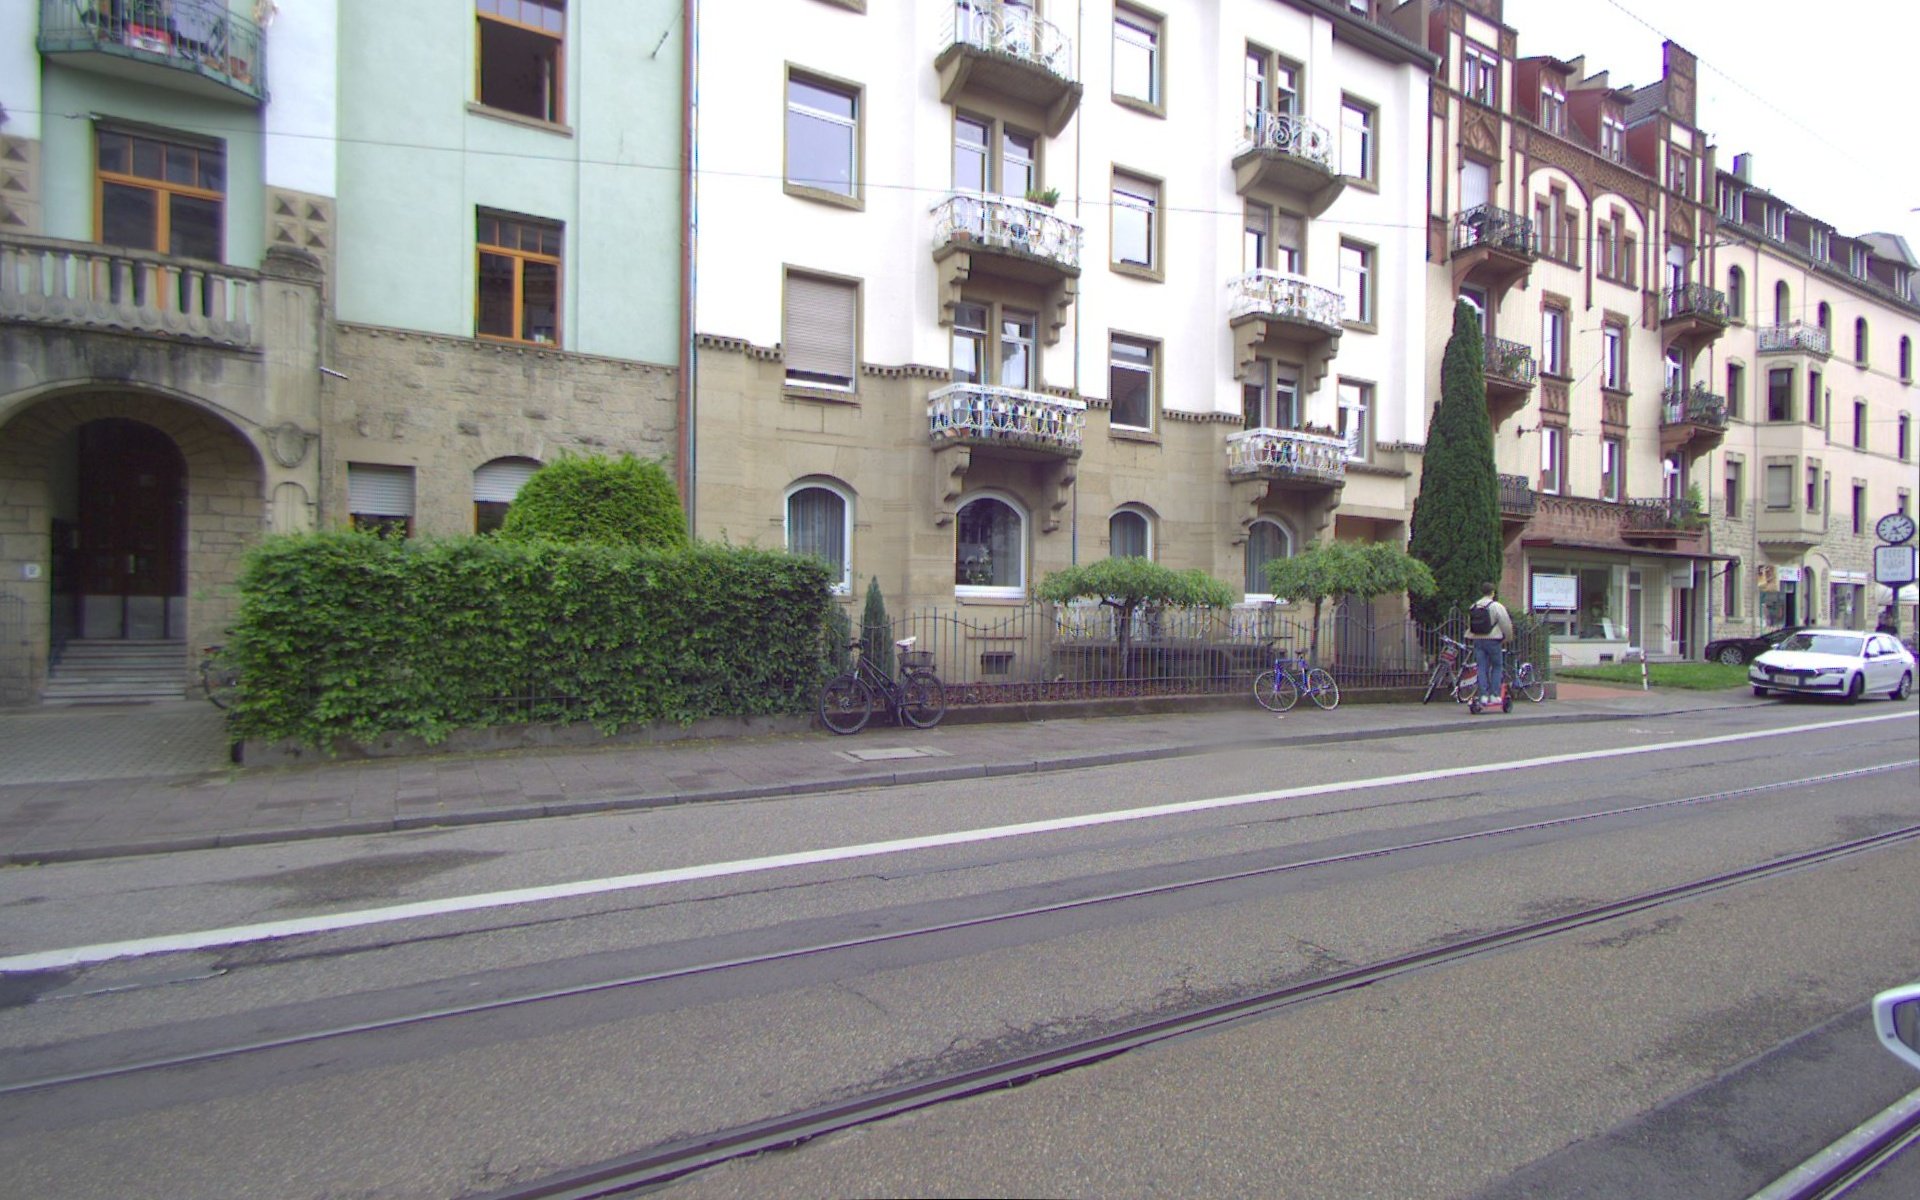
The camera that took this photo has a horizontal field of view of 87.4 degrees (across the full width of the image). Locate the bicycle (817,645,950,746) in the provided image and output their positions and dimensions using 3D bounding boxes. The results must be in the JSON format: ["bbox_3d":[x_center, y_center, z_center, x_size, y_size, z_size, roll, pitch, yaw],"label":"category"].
[{"bbox_3d":[-0.865,1.080,11.618,1.529,1.098,0.358,1,-1,-31],"label":"bicycle"}]

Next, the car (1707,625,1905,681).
[{"bbox_3d":[26.499,1.603,31.623,1.861,1.389,4.397,1,2,-34],"label":"car"}]

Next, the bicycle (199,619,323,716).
[{"bbox_3d":[-8.304,0.781,11.955,1.195,1.098,0.297,1,2,-37],"label":"bicycle"}]

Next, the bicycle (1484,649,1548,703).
[{"bbox_3d":[10.237,1.386,18.491,1.498,0.950,0.330,1,-1,-31],"label":"bicycle"}]

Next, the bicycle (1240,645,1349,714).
[{"bbox_3d":[5.119,1.203,15.362,1.640,0.938,0.358,0,-19,-28],"label":"bicycle"}]

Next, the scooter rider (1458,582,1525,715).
[{"bbox_3d":[8.381,0.749,15.853,0.749,2.040,0.639,1,-1,-30],"label":"scooter rider"}]

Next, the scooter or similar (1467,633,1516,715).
[{"bbox_3d":[8.390,1.155,15.847,0.942,1.250,0.230,1,-1,-31],"label":"scooter or similar"}]

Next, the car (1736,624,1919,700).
[{"bbox_3d":[19.014,1.301,21.962,4.557,1.504,1.738,1,-1,-31],"label":"car"}]

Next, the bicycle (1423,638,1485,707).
[{"bbox_3d":[8.456,1.216,17.167,1.613,1.116,0.381,1,-1,-42],"label":"bicycle"}]

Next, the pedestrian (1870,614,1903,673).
[{"bbox_3d":[29.860,1.403,32.364,0.875,1.868,0.662,1,-1,-40],"label":"pedestrian"}]
